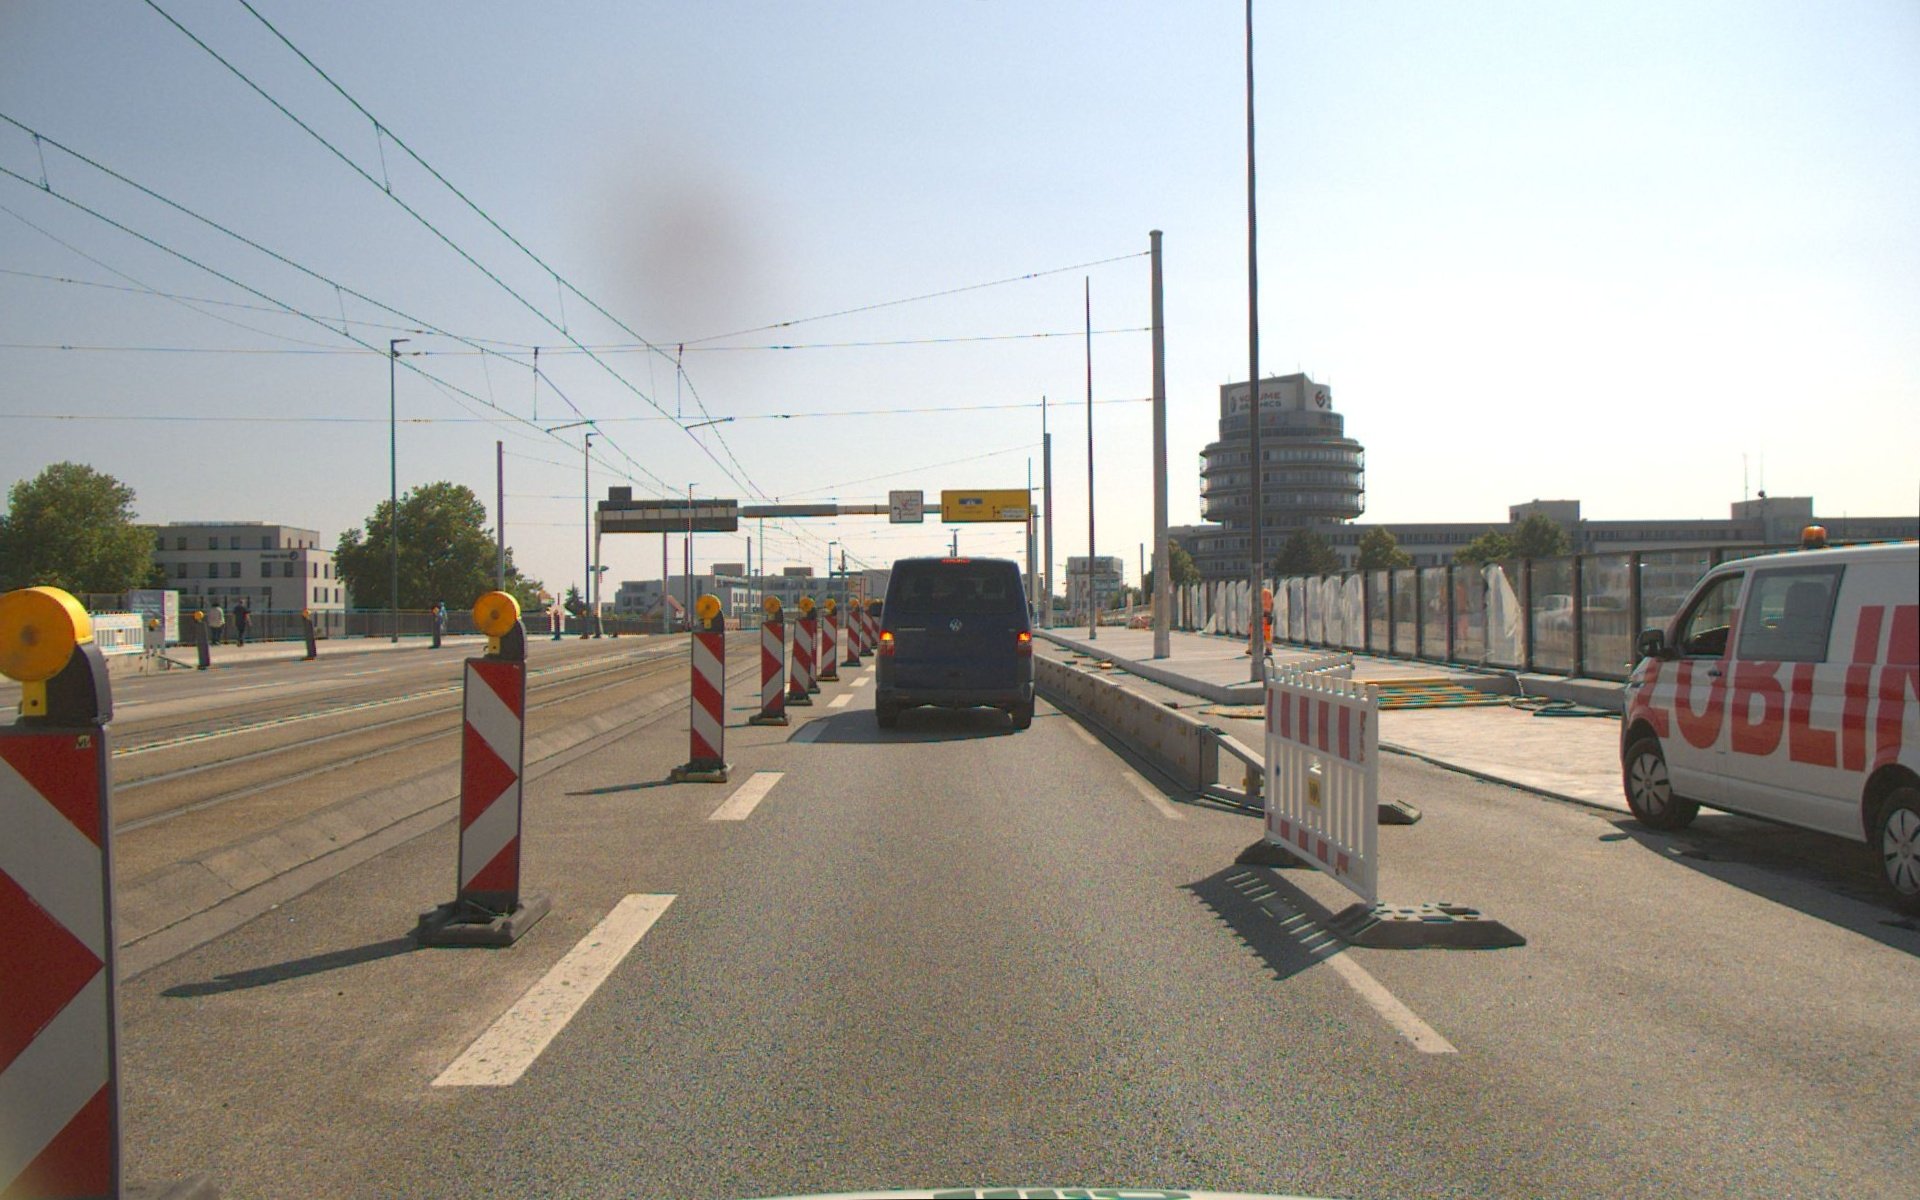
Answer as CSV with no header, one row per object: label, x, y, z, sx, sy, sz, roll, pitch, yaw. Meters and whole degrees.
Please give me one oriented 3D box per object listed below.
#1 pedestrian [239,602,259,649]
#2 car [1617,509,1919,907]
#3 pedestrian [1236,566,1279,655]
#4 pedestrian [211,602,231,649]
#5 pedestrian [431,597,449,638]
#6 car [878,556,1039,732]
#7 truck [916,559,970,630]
pedestrian,-25.884,0.929,60.227,0.485,1.724,0.474,0,-1,-1
car,5.923,0.573,10.190,1.840,2.069,4.891,0,0,0
pedestrian,6.730,0.237,37.439,0.766,1.969,0.799,-2,-1,-1
pedestrian,-26.840,0.929,60.063,0.485,1.724,0.474,0,-1,-1
pedestrian,-24.634,0.835,78.355,0.621,1.926,0.752,0,0,-1
car,-0.035,0.468,20.476,1.778,1.939,4.054,-1,1,-1
truck,-0.847,-0.317,80.187,2.410,3.189,11.214,-1,1,-1
